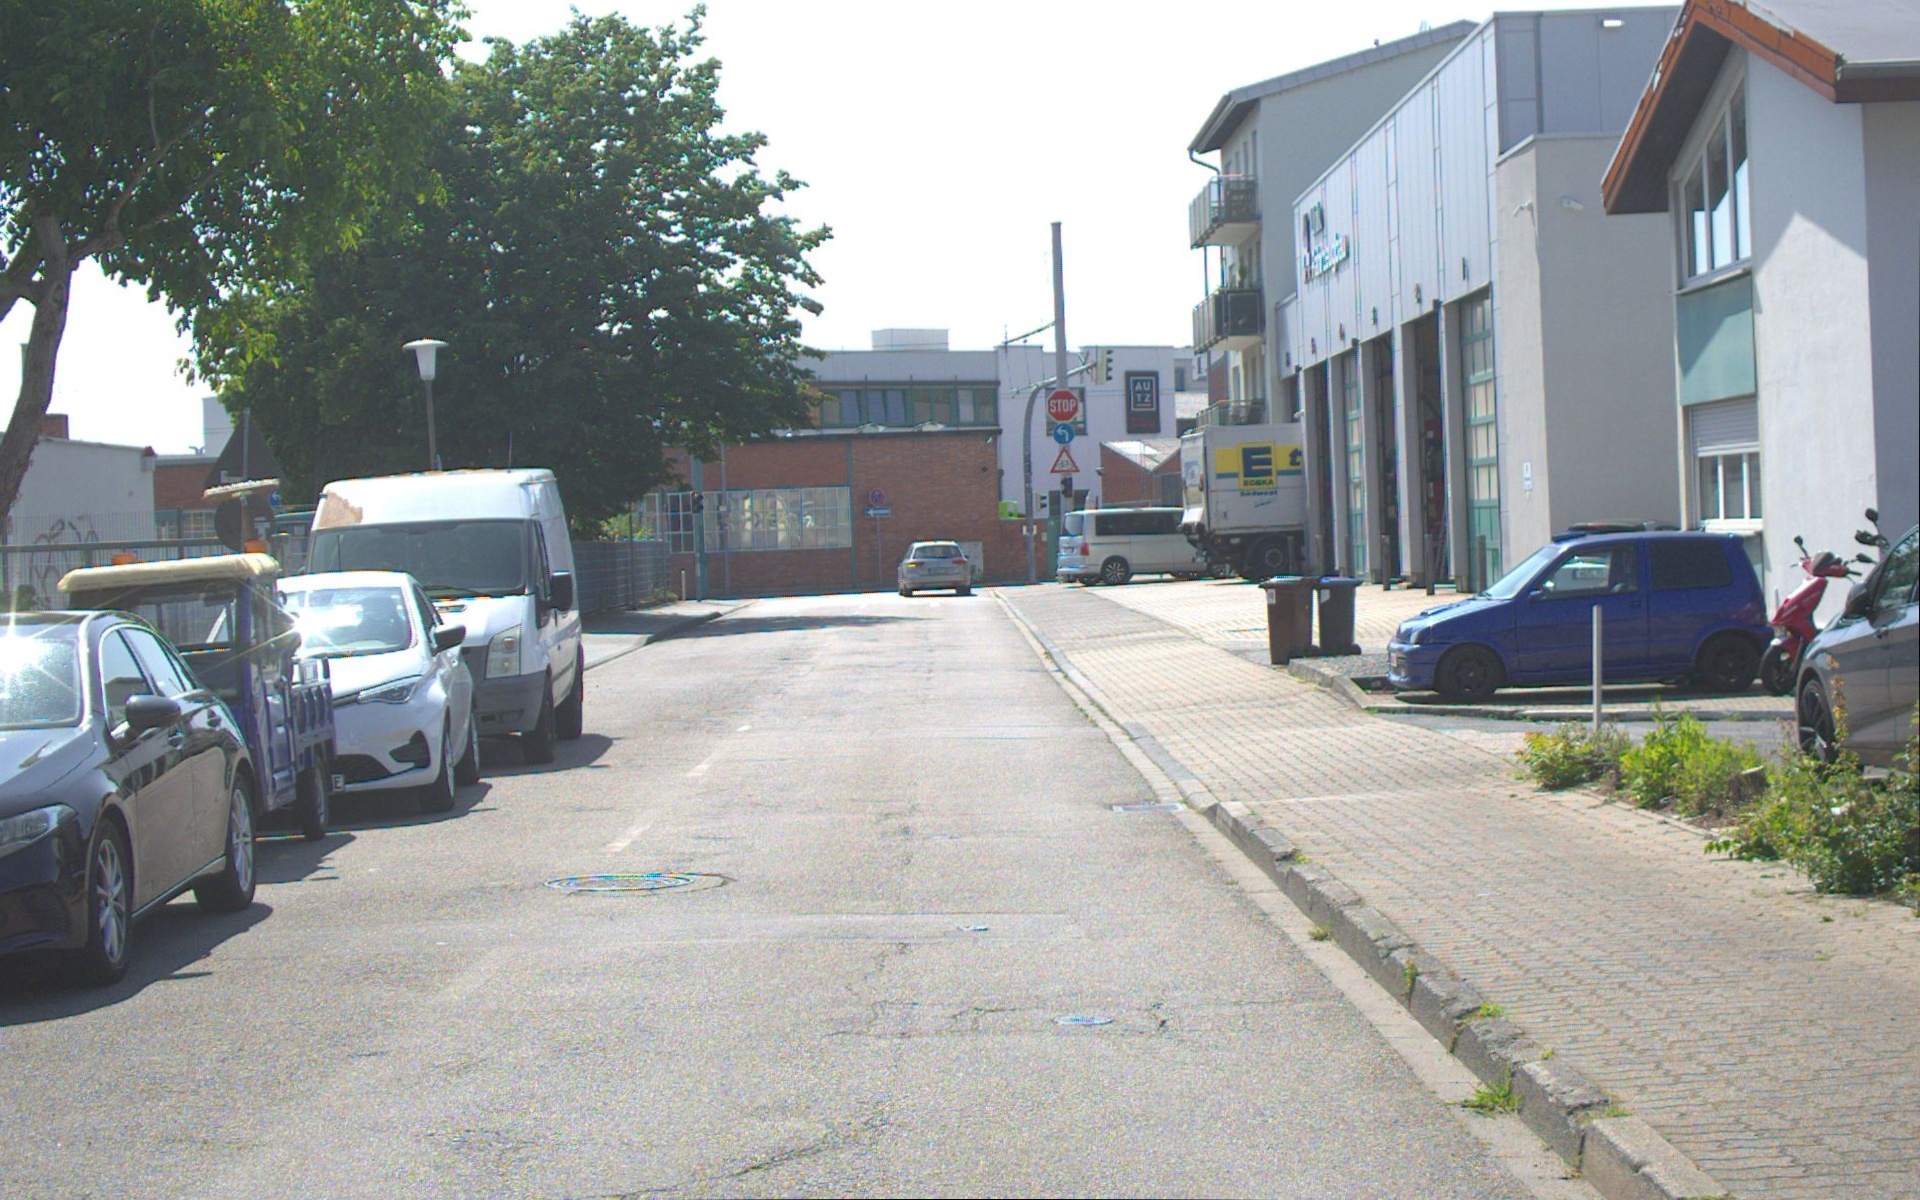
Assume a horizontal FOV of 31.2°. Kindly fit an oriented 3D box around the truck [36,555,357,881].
[{"bbox_3d":[-4.224,0.597,19.358,1.138,1.616,3.141,-4,1,-2],"label":"truck"}]

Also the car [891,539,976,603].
[{"bbox_3d":[-0.736,-0.789,92.983,1.890,1.679,3.959,-1,1,-6],"label":"car"}]

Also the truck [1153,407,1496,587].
[{"bbox_3d":[8.542,-2.415,81.030,7.357,3.633,2.768,-5,1,-6],"label":"truck"}]

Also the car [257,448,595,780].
[{"bbox_3d":[-4.238,0.080,28.143,2.005,2.358,5.230,-3,1,-2],"label":"car"}]

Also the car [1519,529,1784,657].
[{"bbox_3d":[9.199,-0.107,45.587,1.777,1.534,3.694,-2,1,42],"label":"car"}]

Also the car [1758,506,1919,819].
[{"bbox_3d":[5.633,0.275,17.971,1.811,1.553,4.293,-2,1,-1],"label":"car"}]

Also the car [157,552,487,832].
[{"bbox_3d":[-4.165,0.557,22.967,1.704,1.618,3.974,-3,0,-5],"label":"car"}]

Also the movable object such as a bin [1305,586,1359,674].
[{"bbox_3d":[4.098,0.325,37.869,0.514,0.943,0.487,-2,1,11],"label":"movable object such as a bin"}]

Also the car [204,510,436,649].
[{"bbox_3d":[-12.270,-0.397,66.049,4.085,2.504,1.777,-2,1,-2],"label":"car"}]

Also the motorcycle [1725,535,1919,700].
[{"bbox_3d":[7.417,0.131,28.562,1.869,1.275,0.797,-3,0,-3],"label":"motorcycle"}]

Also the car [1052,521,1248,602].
[{"bbox_3d":[4.940,-1.006,89.460,4.653,1.951,1.917,-2,1,-19],"label":"car"}]

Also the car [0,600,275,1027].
[{"bbox_3d":[-4.095,0.783,14.018,1.704,1.458,4.114,-3,0,0],"label":"car"}]

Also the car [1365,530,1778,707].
[{"bbox_3d":[5.262,0.148,29.855,3.253,1.394,1.673,-2,1,0],"label":"car"}]

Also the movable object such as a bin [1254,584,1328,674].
[{"bbox_3d":[3.606,0.317,37.459,0.568,0.943,0.556,-2,1,33],"label":"movable object such as a bin"}]

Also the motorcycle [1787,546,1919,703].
[{"bbox_3d":[8.129,0.182,29.564,1.749,1.275,0.797,-3,0,-9],"label":"motorcycle"}]
